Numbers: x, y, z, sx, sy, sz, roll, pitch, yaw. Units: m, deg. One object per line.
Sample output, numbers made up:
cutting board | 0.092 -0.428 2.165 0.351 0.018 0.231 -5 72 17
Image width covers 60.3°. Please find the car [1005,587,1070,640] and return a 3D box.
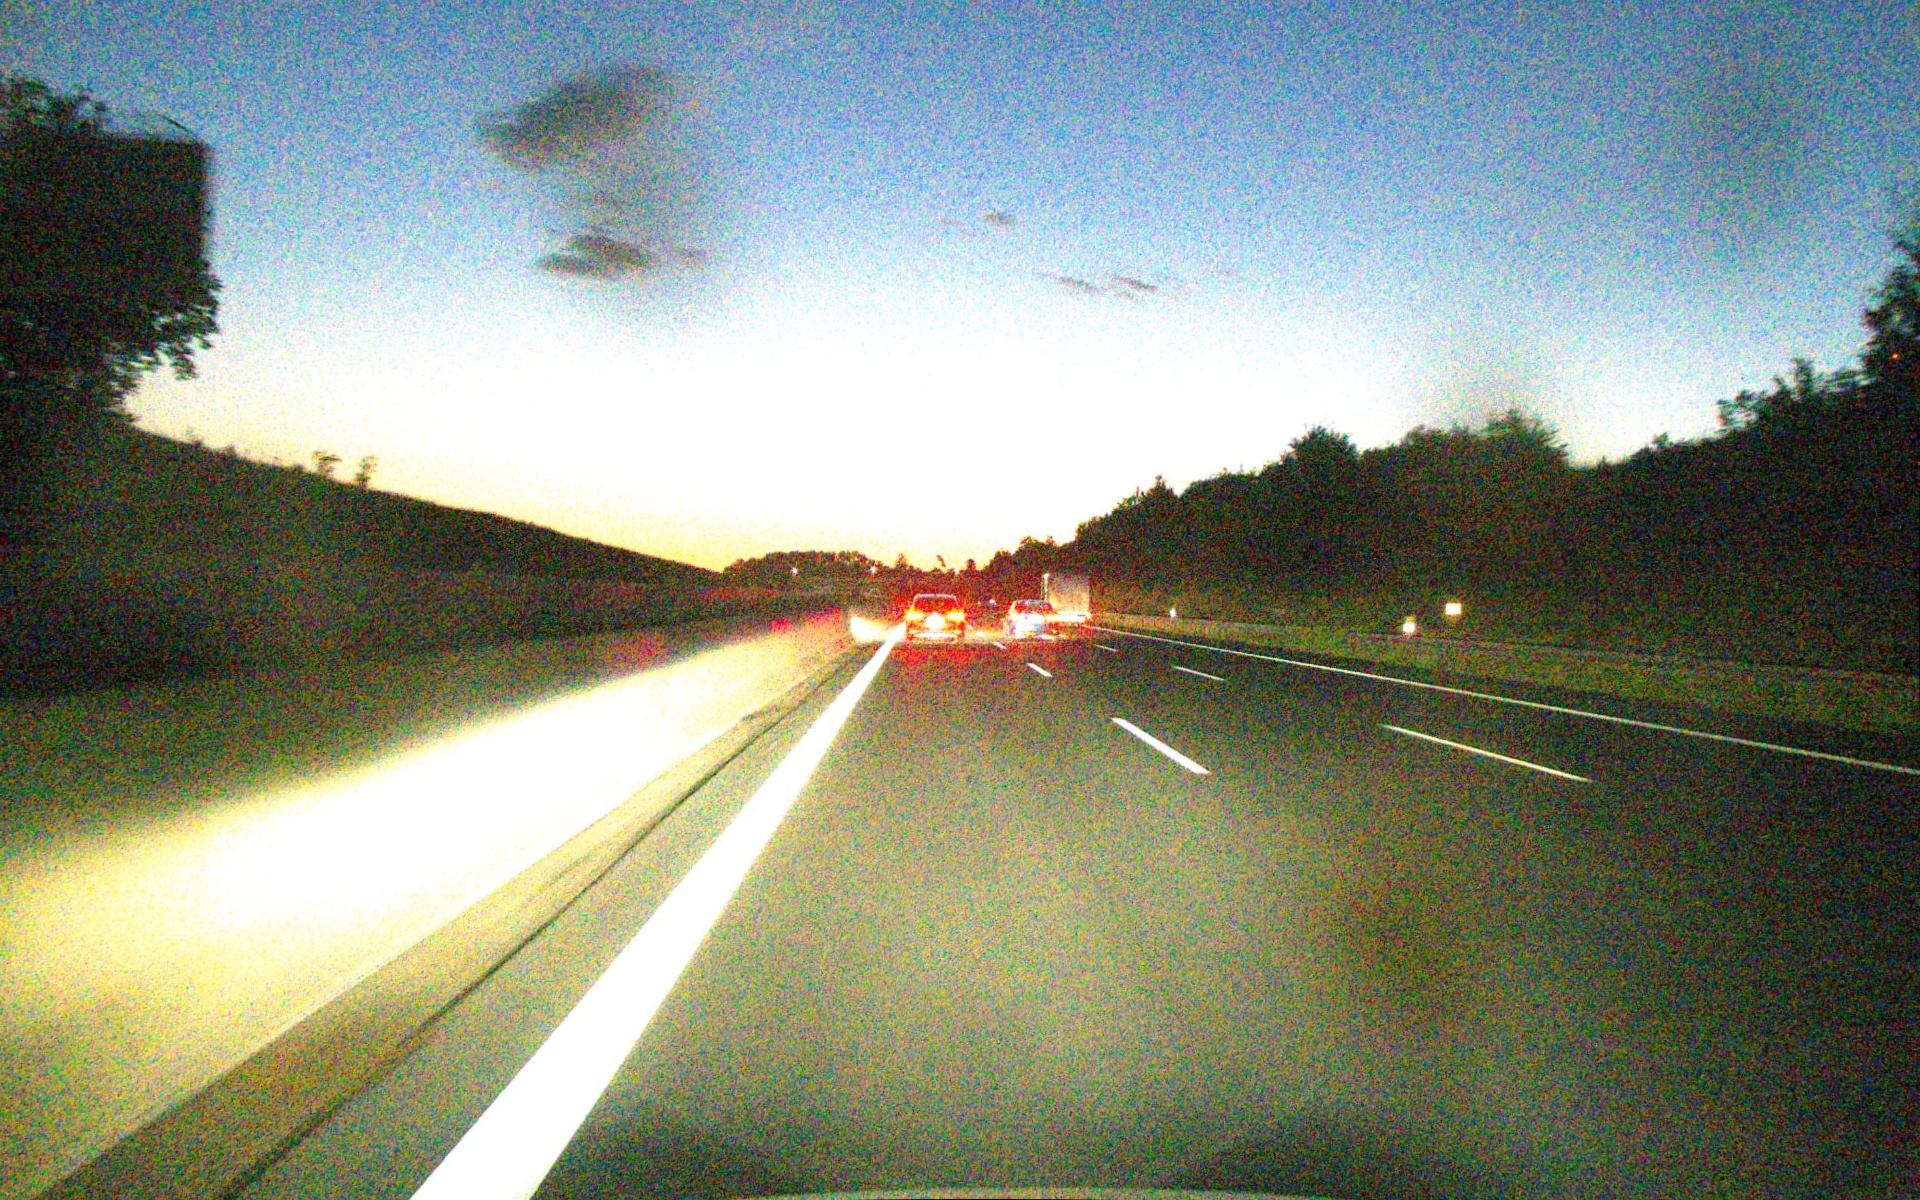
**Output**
car | 2.703 0.480 58.511 1.873 1.760 3.997 1 0 -3

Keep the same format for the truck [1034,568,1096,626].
truck | 5.955 -0.189 94.748 2.551 2.924 7.482 5 0 -2

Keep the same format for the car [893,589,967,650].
car | -0.940 0.557 49.240 2.064 1.646 4.202 2 0 -3
